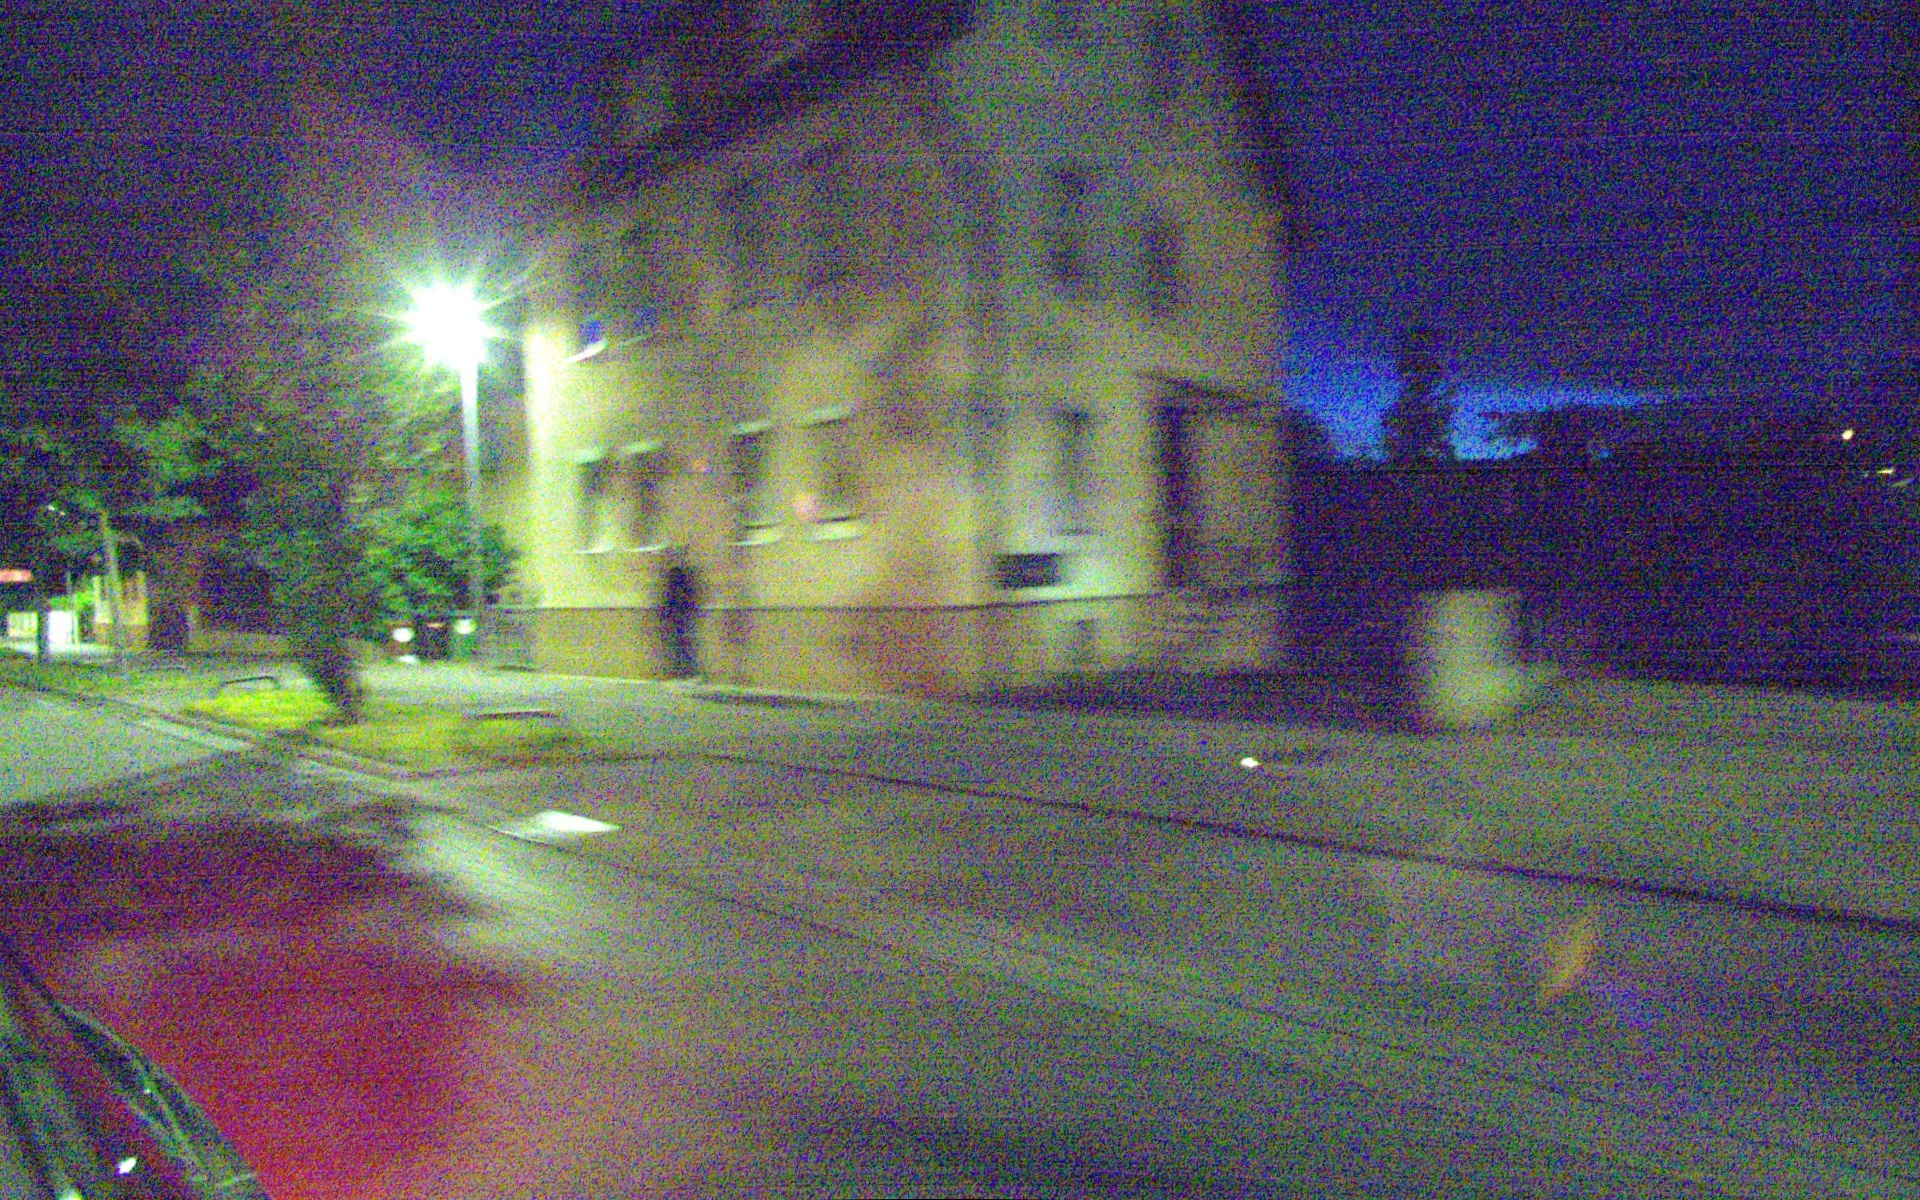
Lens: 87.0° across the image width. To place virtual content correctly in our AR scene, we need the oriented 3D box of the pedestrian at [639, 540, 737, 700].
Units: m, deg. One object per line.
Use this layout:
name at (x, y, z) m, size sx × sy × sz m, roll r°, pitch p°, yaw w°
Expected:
pedestrian at (-3.423, 0.233, 12.730) m, size 0.829 × 1.917 × 0.737 m, roll -1°, pitch 3°, yaw 41°
